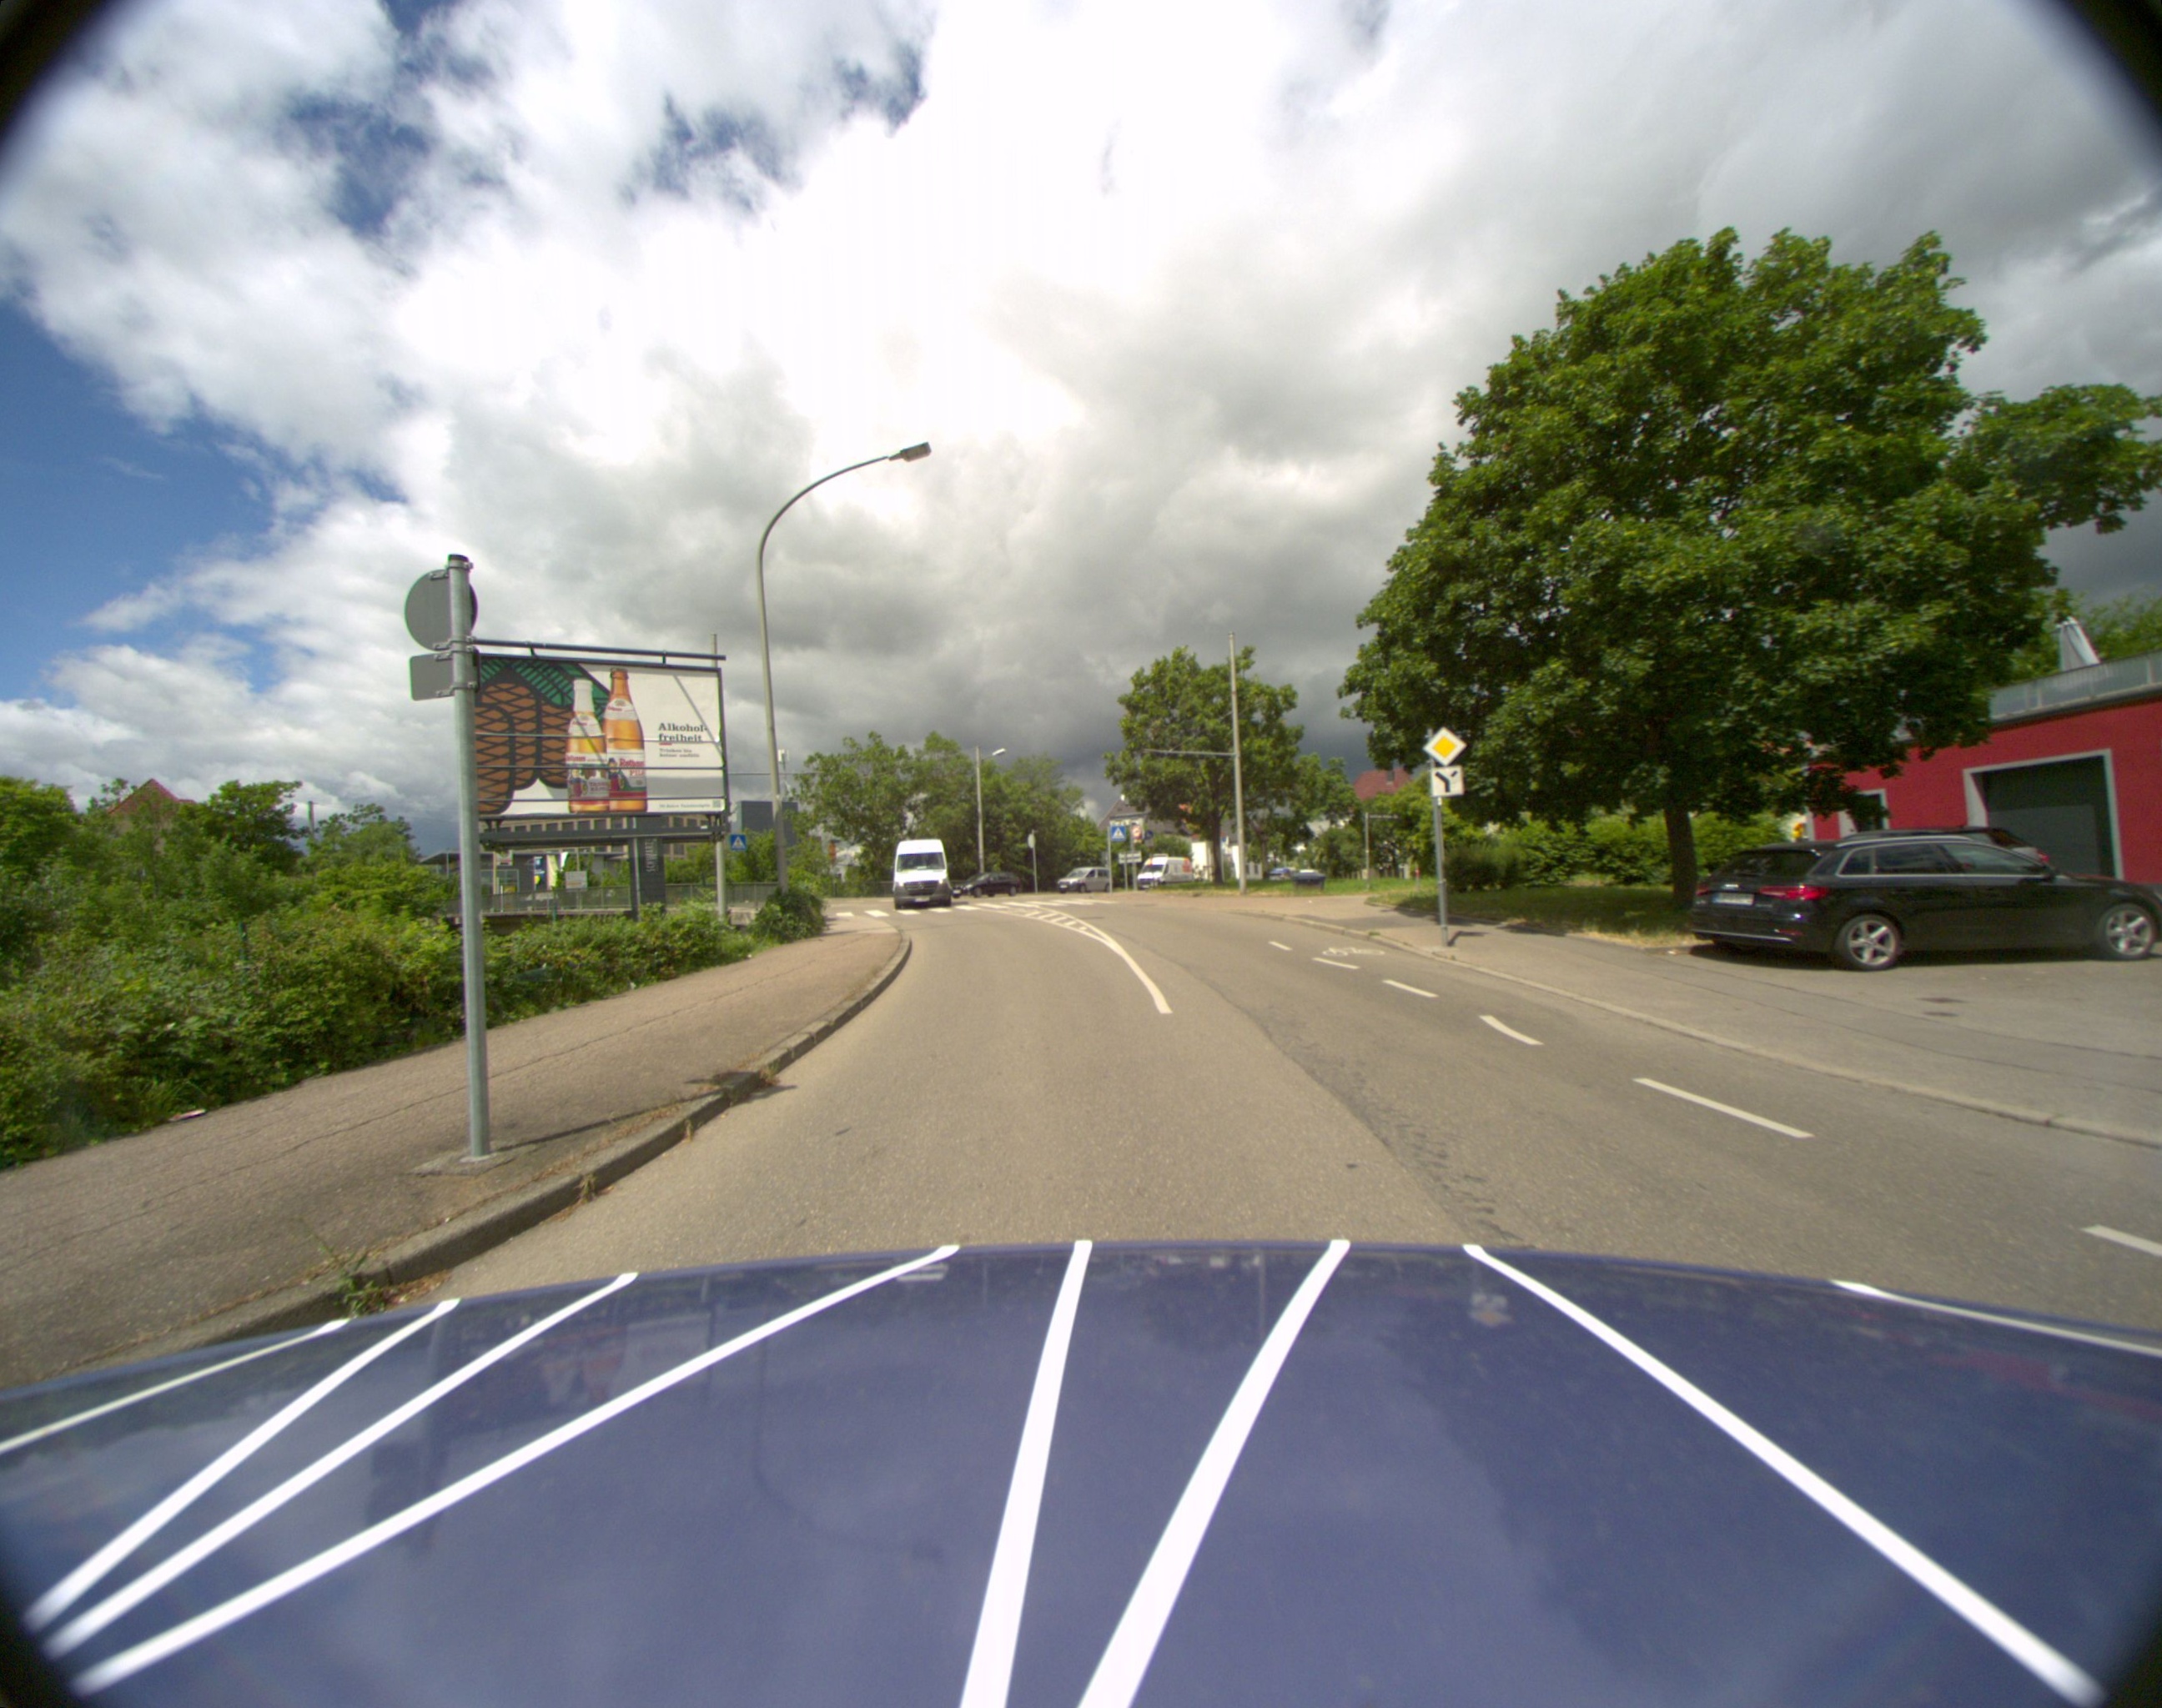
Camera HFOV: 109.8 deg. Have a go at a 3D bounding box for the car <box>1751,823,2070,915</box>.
[{"bbox_3d":[15.431,0.263,14.536,1.644,1.417,4.078,-4,0,1],"label":"car"}]

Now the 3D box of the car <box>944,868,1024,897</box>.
[{"bbox_3d":[-5.299,1.555,41.912,1.995,1.465,4.239,-4,-4,35],"label":"car"}]

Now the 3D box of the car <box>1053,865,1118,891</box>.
[{"bbox_3d":[0.371,1.581,50.495,1.995,1.577,4.412,-4,-4,38],"label":"car"}]

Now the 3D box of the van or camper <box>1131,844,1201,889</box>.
[{"bbox_3d":[6.804,1.111,59.645,2.266,2.975,8.347,-4,-5,29],"label":"van or camper"}]

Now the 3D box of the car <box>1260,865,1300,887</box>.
[{"bbox_3d":[18.166,1.973,69.201,2.227,1.796,4.410,-4,-2,31],"label":"car"}]

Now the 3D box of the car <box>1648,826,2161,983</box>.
[{"bbox_3d":[9.490,0.532,8.872,4.140,1.385,2.000,-4,0,2],"label":"car"}]

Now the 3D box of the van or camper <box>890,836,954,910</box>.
[{"bbox_3d":[-6.123,0.763,29.581,2.194,2.551,5.925,-1,-2,-11],"label":"van or camper"}]
